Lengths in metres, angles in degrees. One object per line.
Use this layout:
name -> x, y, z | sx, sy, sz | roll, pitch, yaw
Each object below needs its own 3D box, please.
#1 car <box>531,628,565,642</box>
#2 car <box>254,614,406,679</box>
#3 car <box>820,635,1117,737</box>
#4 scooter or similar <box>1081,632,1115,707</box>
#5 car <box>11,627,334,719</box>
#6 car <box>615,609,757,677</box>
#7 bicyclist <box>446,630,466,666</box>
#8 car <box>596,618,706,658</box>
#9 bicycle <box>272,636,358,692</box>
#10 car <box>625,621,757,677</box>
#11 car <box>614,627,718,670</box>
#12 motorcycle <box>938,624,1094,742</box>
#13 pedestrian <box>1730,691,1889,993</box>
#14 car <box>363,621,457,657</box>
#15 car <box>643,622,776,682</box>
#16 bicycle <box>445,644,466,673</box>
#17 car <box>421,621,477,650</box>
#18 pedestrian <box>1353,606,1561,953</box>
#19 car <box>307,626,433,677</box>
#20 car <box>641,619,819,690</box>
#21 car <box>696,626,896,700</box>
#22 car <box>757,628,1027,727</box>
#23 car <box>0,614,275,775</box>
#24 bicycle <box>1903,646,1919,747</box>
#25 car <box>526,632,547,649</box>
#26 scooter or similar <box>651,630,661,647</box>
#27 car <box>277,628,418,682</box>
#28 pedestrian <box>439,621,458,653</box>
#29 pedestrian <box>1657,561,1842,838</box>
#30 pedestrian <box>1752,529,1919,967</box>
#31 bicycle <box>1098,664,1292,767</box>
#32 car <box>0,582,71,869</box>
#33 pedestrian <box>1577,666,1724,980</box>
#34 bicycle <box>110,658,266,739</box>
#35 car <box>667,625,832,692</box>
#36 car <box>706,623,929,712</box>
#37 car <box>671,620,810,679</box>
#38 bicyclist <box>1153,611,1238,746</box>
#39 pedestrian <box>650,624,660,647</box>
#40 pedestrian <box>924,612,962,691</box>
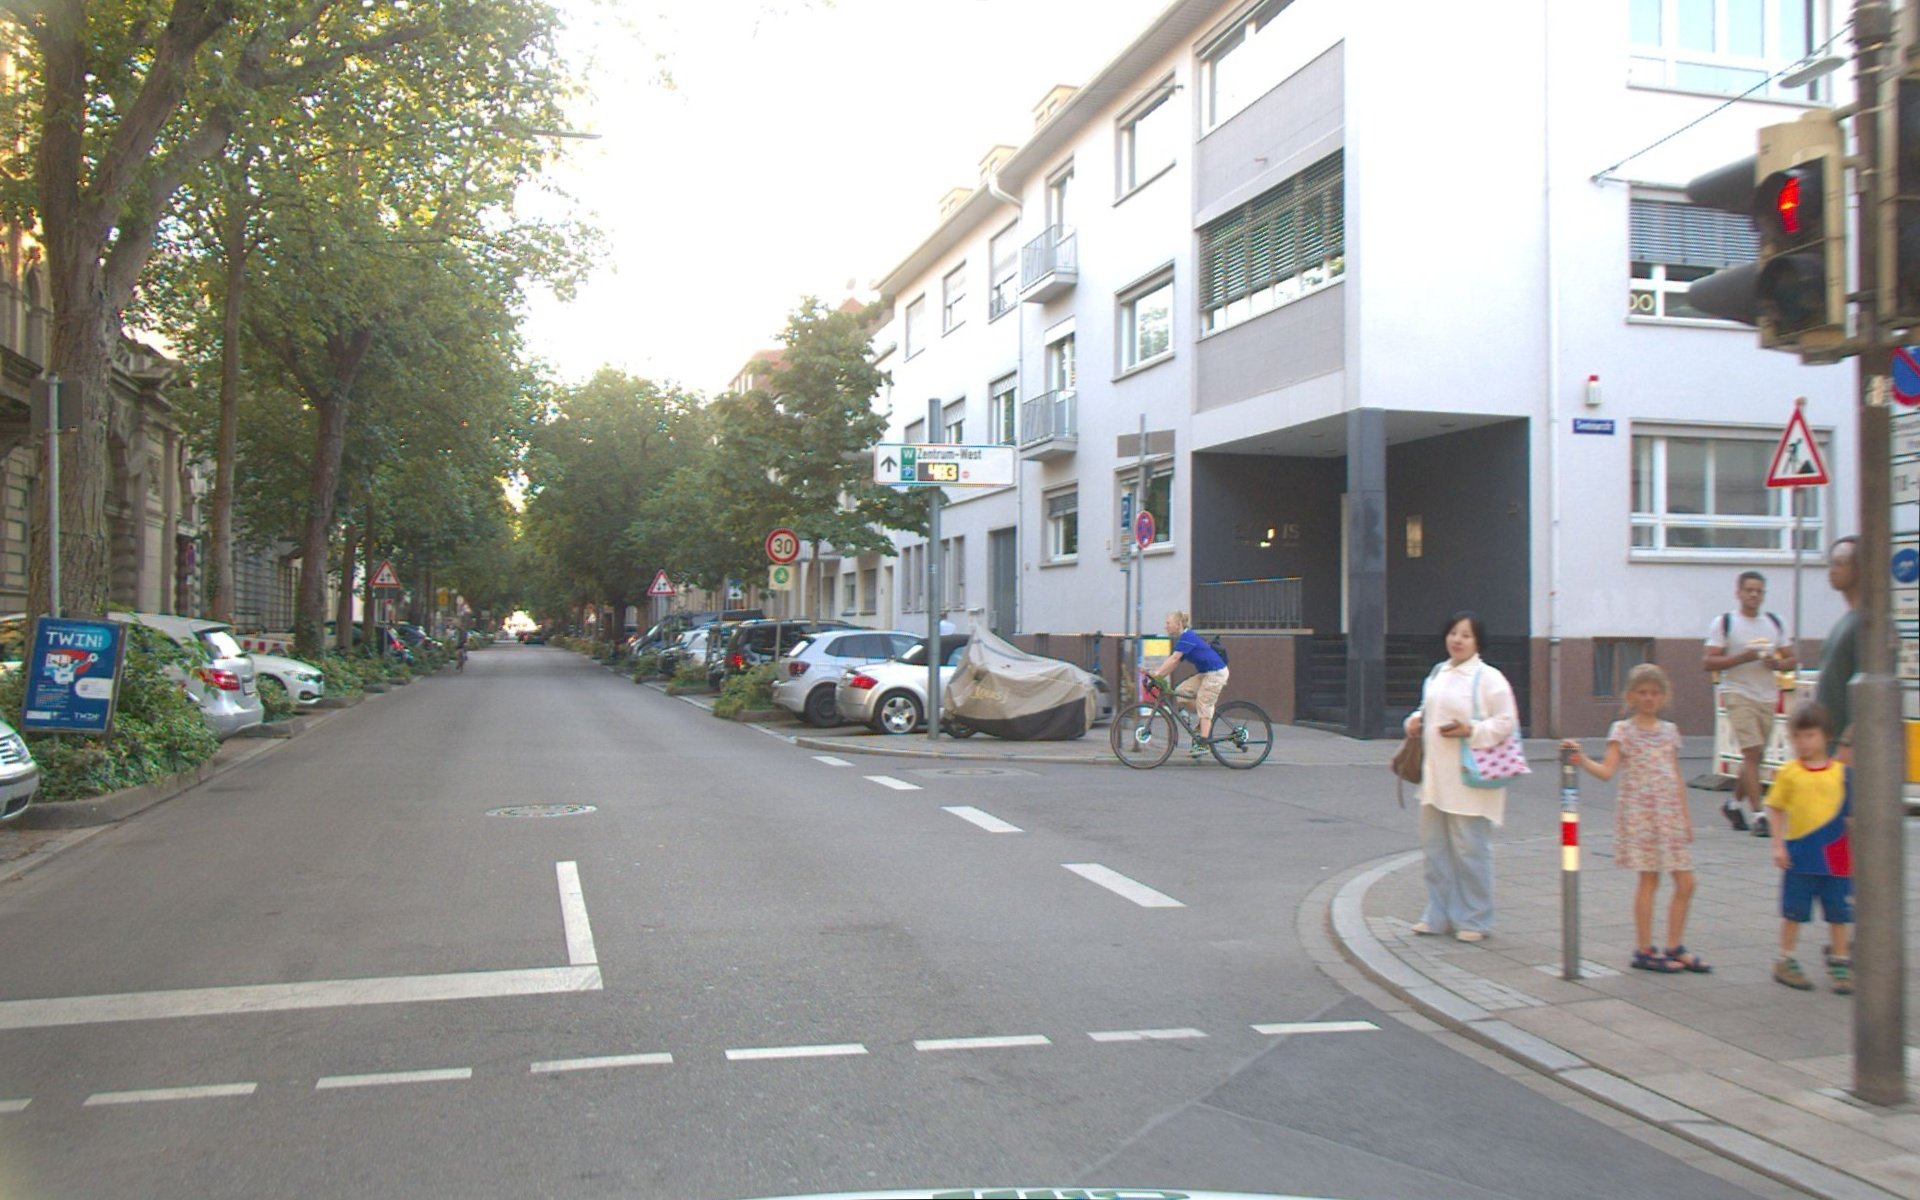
car -> -52.108, 4.423, 209.192 | 4.199, 1.593, 1.954 | -1, -1, -16
car -> -18.521, 1.382, 48.778 | 3.901, 1.624, 1.773 | 5, -3, -16
car -> 0.083, 1.172, 23.363 | 3.917, 1.356, 1.788 | 0, -1, -13
scooter or similar -> 2.370, 1.187, 28.551 | 0.339, 1.261, 1.419 | 0, -1, -5
car -> -12.759, 1.189, 27.101 | 4.437, 1.415, 1.909 | 1, -2, -14
car -> -9.545, 1.484, 57.527 | 4.615, 2.046, 2.028 | -3, -1, -17
bicyclist -> -18.229, 1.726, 59.830 | 0.661, 1.286, 0.645 | 0, -1, -16
car -> -12.970, 1.582, 69.391 | 4.333, 1.418, 1.876 | -3, -1, -18
bicycle -> -14.777, 1.476, 37.895 | 1.739, 1.254, 0.499 | 1, -3, -11
car -> -8.983, 1.618, 55.135 | 4.091, 1.606, 1.960 | -3, -1, -18
car -> -11.960, 1.960, 67.177 | 3.925, 1.463, 1.917 | -3, -1, -18
motorcycle -> 0.674, 1.018, 20.643 | 1.869, 1.417, 0.999 | 0, -1, -3
pedestrian -> 3.531, 0.977, 6.885 | 0.533, 1.165, 0.492 | -2, -1, 28
car -> -27.916, 1.959, 84.037 | 4.352, 1.680, 1.865 | 2, -1, -15
car -> -7.917, 1.629, 52.182 | 3.903, 1.606, 1.842 | -3, -1, -17
bicycle -> -18.225, 2.107, 59.800 | 0.661, 1.011, 1.751 | 0, -1, -15
car -> -44.948, 3.150, 145.654 | 4.606, 2.521, 1.991 | 1, -2, -16
pedestrian -> 2.360, 0.814, 7.859 | 0.595, 1.538, 0.709 | -1, -1, -44
car -> -21.629, 1.883, 60.789 | 4.132, 1.701, 1.899 | 2, -1, -16
car -> -6.276, 1.456, 45.106 | 4.518, 1.606, 1.935 | -3, -1, -17
car -> -3.715, 1.400, 37.293 | 4.246, 1.522, 1.786 | -1, -1, -17
car -> -1.087, 1.173, 25.798 | 3.921, 1.463, 1.787 | 0, -1, -15
car -> -9.542, 0.958, 17.306 | 4.099, 1.584, 1.820 | 1, -2, -13
bicycle -> 12.759, 1.226, 21.219 | 1.777, 1.261, 0.526 | 1, -1, -38
car -> -41.532, 3.954, 162.225 | 1.924, 1.593, 4.264 | -1, -1, -15
scooter or similar -> -21.244, 2.677, 115.557 | 0.644, 1.173, 0.828 | 0, -1, -15
car -> -19.153, 1.715, 51.897 | 3.899, 1.411, 1.758 | 4, -1, -15
pedestrian -> -28.316, 2.047, 91.587 | 0.811, 1.700, 0.797 | -1, -1, 0
pedestrian -> 5.646, 0.683, 11.883 | 0.684, 1.887, 1.047 | -1, -1, -10
pedestrian -> 3.902, 0.612, 7.191 | 0.534, 1.806, 0.574 | -2, -1, -14
bicycle -> 2.473, 1.212, 17.483 | 1.932, 1.048, 0.673 | 1, -2, -5
car -> -8.089, 0.683, 10.043 | 4.355, 1.752, 1.881 | 3, -2, -18
pedestrian -> 2.967, 0.941, 7.135 | 0.478, 1.284, 0.452 | -2, -1, 13
bicycle -> -10.231, 1.307, 21.967 | 1.764, 1.027, 0.596 | 2, -2, -15
car -> -5.471, 1.499, 42.797 | 4.006, 1.454, 1.811 | -3, -1, -14
car -> -2.782, 1.269, 31.982 | 4.041, 1.646, 1.953 | 0, -1, -15
car -> -6.359, 1.418, 47.806 | 3.733, 1.448, 1.689 | -3, -1, -17
bicyclist -> 2.484, 0.830, 17.494 | 0.759, 1.388, 0.673 | 1, -3, -5
pedestrian -> -21.402, 2.504, 116.156 | 0.644, 1.563, 0.828 | 0, -1, -15
pedestrian -> -0.401, 1.194, 38.523 | 0.685, 1.827, 0.877 | 0, -1, -15
